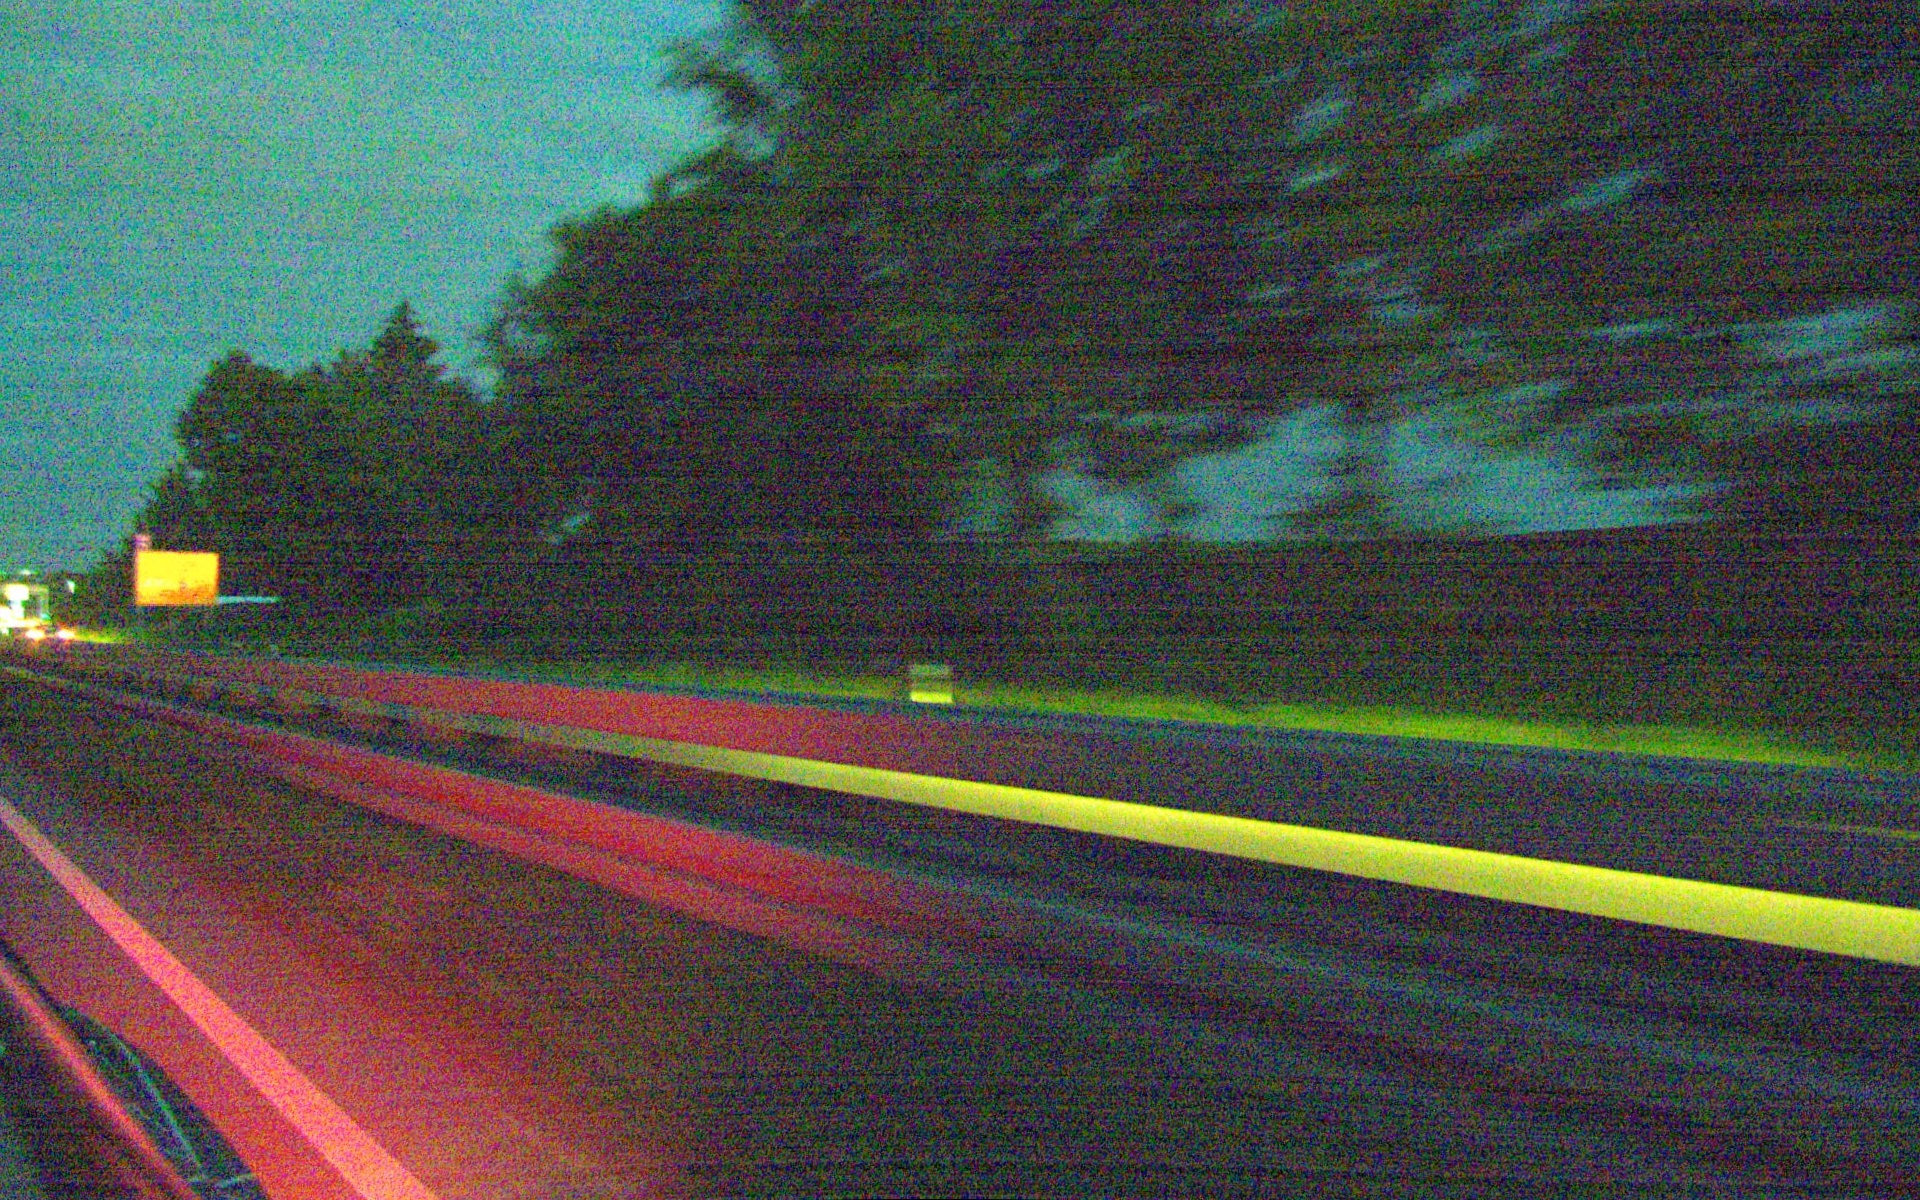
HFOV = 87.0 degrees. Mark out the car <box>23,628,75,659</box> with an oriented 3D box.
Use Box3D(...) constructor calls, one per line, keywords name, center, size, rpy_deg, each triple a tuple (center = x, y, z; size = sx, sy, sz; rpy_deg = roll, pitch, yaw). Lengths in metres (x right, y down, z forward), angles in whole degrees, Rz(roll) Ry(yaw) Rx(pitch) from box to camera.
Box3D(name="car", center=(-51.215, 2.419, 56.881), size=(4.164, 1.599, 1.665), rpy_deg=(-2, -1, 41))
